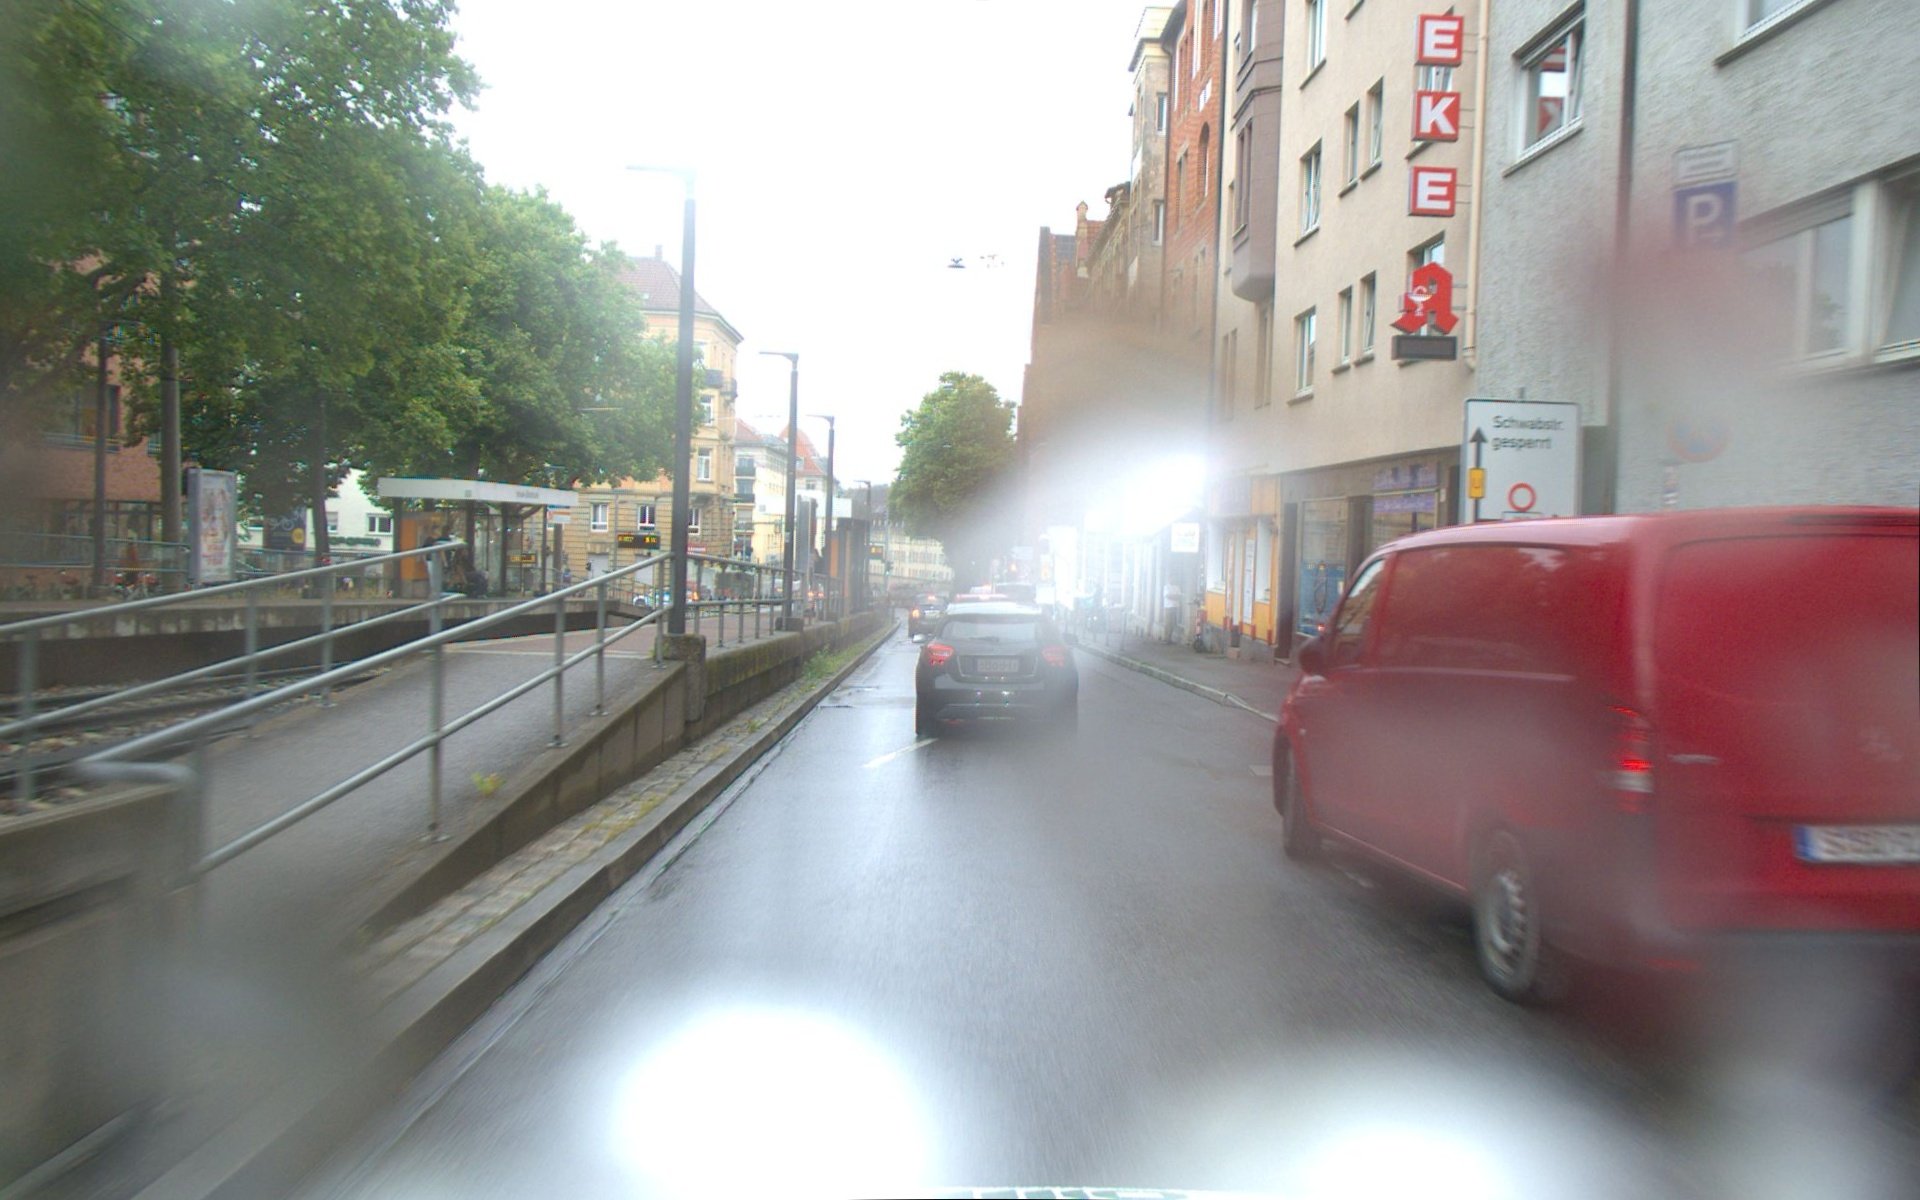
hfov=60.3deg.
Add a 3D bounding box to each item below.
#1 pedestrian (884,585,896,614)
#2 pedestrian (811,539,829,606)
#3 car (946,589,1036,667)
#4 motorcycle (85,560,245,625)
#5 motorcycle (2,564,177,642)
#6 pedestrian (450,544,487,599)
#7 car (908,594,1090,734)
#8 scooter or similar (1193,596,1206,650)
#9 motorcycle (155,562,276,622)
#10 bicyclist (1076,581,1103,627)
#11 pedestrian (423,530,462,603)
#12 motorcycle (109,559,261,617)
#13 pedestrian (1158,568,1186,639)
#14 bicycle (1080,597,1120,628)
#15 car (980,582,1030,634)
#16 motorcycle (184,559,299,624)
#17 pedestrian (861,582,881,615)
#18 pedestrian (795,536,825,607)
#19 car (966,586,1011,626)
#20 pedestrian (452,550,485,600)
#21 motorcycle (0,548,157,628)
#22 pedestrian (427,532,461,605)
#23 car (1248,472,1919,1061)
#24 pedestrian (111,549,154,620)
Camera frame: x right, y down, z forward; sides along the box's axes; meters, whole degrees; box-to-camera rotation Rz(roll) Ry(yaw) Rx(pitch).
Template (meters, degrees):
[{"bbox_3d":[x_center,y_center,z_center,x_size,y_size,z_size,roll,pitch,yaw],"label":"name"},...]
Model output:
[{"bbox_3d":[-3.688,-0.024,87.234,0.521,1.557,0.436,1,0,-9],"label":"pedestrian"},{"bbox_3d":[-3.441,-0.680,40.606,0.401,1.633,0.450,1,0,-7],"label":"pedestrian"},{"bbox_3d":[0.606,0.553,35.042,1.646,1.515,3.611,1,1,-3],"label":"car"},{"bbox_3d":[-21.673,-0.205,45.159,3.786,1.633,1.006,2,0,-3],"label":"motorcycle"},{"bbox_3d":[-21.952,0.072,41.788,3.786,1.847,1.006,2,0,-3],"label":"motorcycle"},{"bbox_3d":[-12.681,-0.741,42.682,0.762,1.386,0.564,2,1,-3],"label":"pedestrian"},{"bbox_3d":[0.397,0.671,18.953,1.856,1.414,3.999,0,0,0],"label":"car"},{"bbox_3d":[5.700,0.531,39.322,0.252,1.243,1.196,2,1,8],"label":"scooter or similar"},{"bbox_3d":[-21.753,-0.232,48.378,2.997,1.656,1.006,2,0,-3],"label":"motorcycle"},{"bbox_3d":[4.806,0.146,61.447,0.843,1.686,0.622,0,0,-42],"label":"bicyclist"},{"bbox_3d":[-12.004,-0.777,38.381,0.672,1.670,0.564,2,1,-3],"label":"pedestrian"},{"bbox_3d":[-22.072,-0.343,47.153,3.786,1.513,1.006,2,0,-3],"label":"motorcycle"},{"bbox_3d":[5.694,0.097,44.429,0.566,1.862,0.563,-2,-1,-4],"label":"pedestrian"},{"bbox_3d":[5.189,0.440,61.137,1.675,1.135,0.457,0,0,-42],"label":"bicycle"},{"bbox_3d":[1.807,0.303,67.367,1.881,1.969,4.685,1,0,0],"label":"car"},{"bbox_3d":[-21.729,-0.264,50.071,2.975,1.847,0.993,2,0,-3],"label":"motorcycle"},{"bbox_3d":[-4.702,-0.083,87.310,0.735,1.754,0.729,1,0,-44],"label":"pedestrian"},{"bbox_3d":[-3.493,-0.666,38.568,0.485,1.633,0.637,1,0,15],"label":"pedestrian"},{"bbox_3d":[1.392,0.270,83.136,1.895,1.863,4.278,1,1,-3],"label":"car"},{"bbox_3d":[-12.852,-0.663,43.261,0.689,1.262,0.564,2,1,-3],"label":"pedestrian"},{"bbox_3d":[-21.595,-0.291,39.977,3.786,1.805,1.006,2,0,-3],"label":"motorcycle"},{"bbox_3d":[-12.444,-0.761,39.900,0.551,1.745,0.705,2,1,-3],"label":"pedestrian"},{"bbox_3d":[2.926,0.529,7.932,1.935,1.870,5.243,1,0,-3],"label":"car"},{"bbox_3d":[-24.505,-0.460,48.993,0.717,2.049,0.981,1,0,1],"label":"pedestrian"}]
